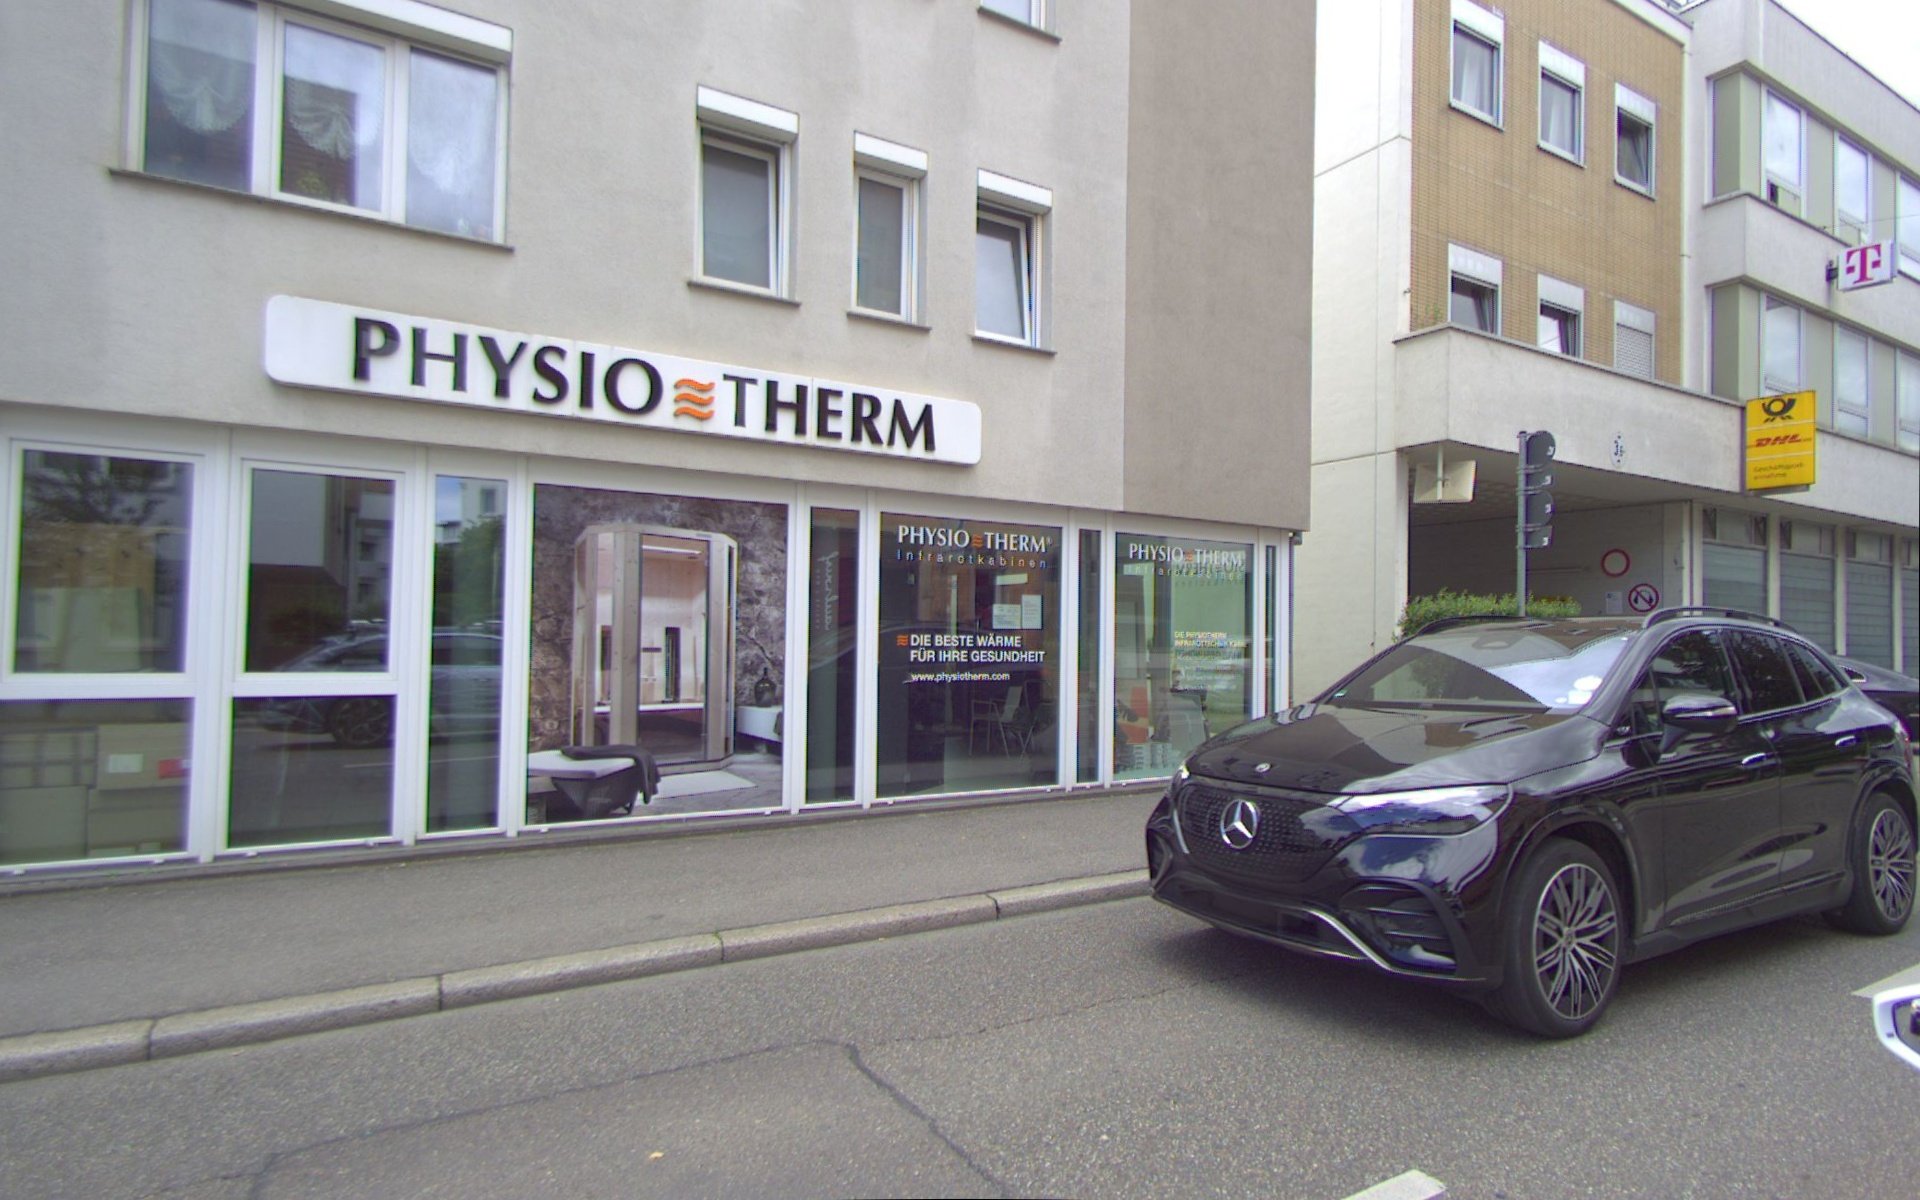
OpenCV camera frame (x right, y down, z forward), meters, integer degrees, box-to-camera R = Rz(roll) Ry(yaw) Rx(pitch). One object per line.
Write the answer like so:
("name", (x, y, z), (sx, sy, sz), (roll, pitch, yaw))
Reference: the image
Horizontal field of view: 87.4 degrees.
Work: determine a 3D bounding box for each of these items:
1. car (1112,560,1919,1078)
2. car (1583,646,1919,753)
("car", (3.214, 0.848, 5.465), (4.501, 1.761, 1.984), (2, -4, -31))
("car", (12.248, 1.457, 15.611), (4.335, 1.384, 1.782), (0, -2, 31))
